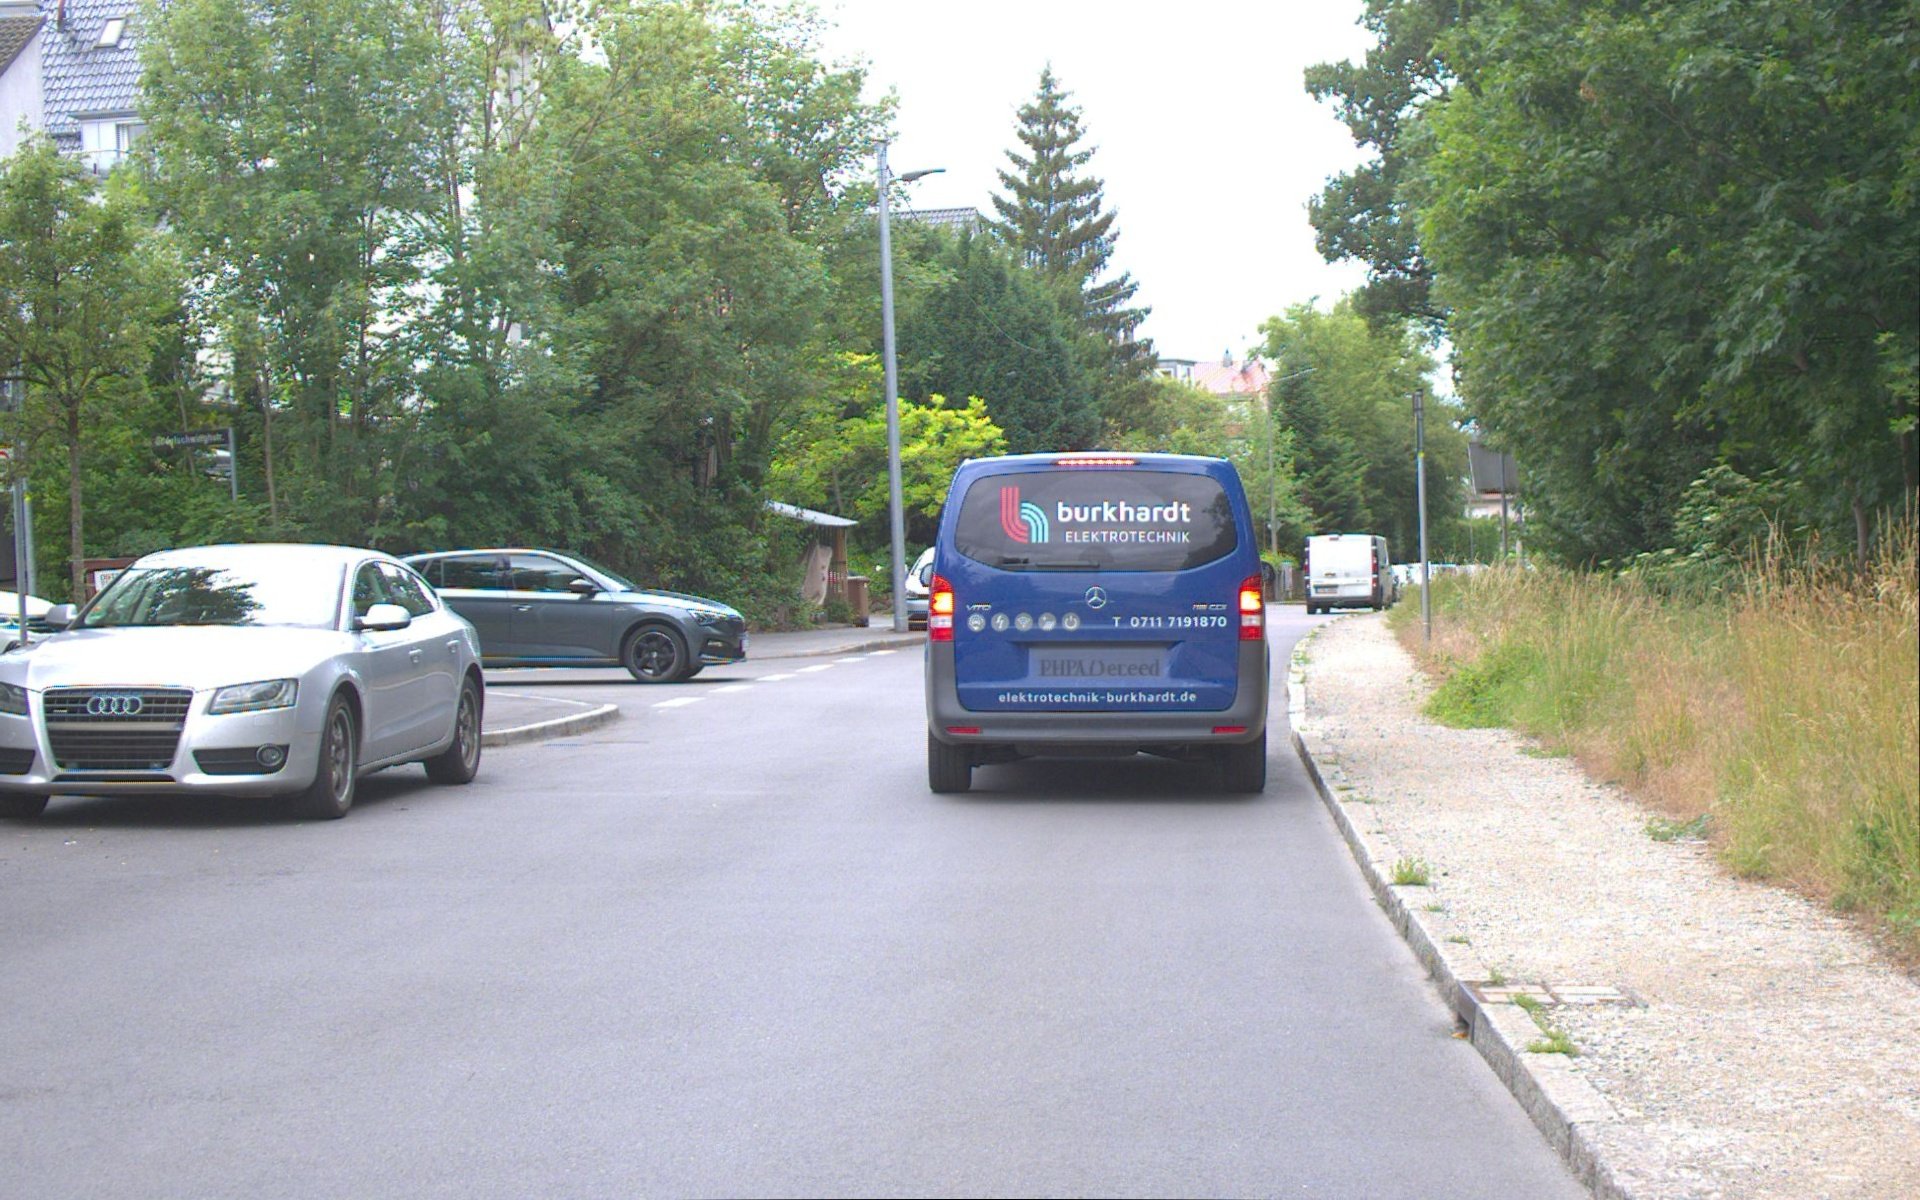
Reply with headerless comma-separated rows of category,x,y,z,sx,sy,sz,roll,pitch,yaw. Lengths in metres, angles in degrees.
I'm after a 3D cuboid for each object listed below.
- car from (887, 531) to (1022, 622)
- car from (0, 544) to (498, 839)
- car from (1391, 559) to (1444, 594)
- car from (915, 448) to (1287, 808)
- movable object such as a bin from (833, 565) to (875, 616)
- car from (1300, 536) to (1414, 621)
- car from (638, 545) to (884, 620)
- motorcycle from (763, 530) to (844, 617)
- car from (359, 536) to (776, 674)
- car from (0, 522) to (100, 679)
car,-0.058,-0.397,57.064,1.706,1.463,4.074,0,1,8
car,-3.889,0.397,18.609,1.831,1.369,4.445,0,1,5
car,19.028,-0.983,142.849,1.750,1.400,3.998,0,1,14
car,0.830,0.099,20.255,1.936,1.873,4.530,0,1,2
movable object such as a bin,-1.905,-0.170,61.959,0.591,0.906,0.700,0,1,14
car,10.048,-0.575,86.580,2.207,2.056,6.131,-1,1,13
car,-3.861,-0.344,67.063,4.483,1.436,1.878,0,0,11
motorcycle,-2.708,-0.466,59.955,0.810,1.480,2.895,0,1,10
car,-4.154,0.041,36.744,4.167,1.442,1.740,0,1,5
car,-12.219,0.008,37.826,4.937,1.664,2.037,0,0,7
